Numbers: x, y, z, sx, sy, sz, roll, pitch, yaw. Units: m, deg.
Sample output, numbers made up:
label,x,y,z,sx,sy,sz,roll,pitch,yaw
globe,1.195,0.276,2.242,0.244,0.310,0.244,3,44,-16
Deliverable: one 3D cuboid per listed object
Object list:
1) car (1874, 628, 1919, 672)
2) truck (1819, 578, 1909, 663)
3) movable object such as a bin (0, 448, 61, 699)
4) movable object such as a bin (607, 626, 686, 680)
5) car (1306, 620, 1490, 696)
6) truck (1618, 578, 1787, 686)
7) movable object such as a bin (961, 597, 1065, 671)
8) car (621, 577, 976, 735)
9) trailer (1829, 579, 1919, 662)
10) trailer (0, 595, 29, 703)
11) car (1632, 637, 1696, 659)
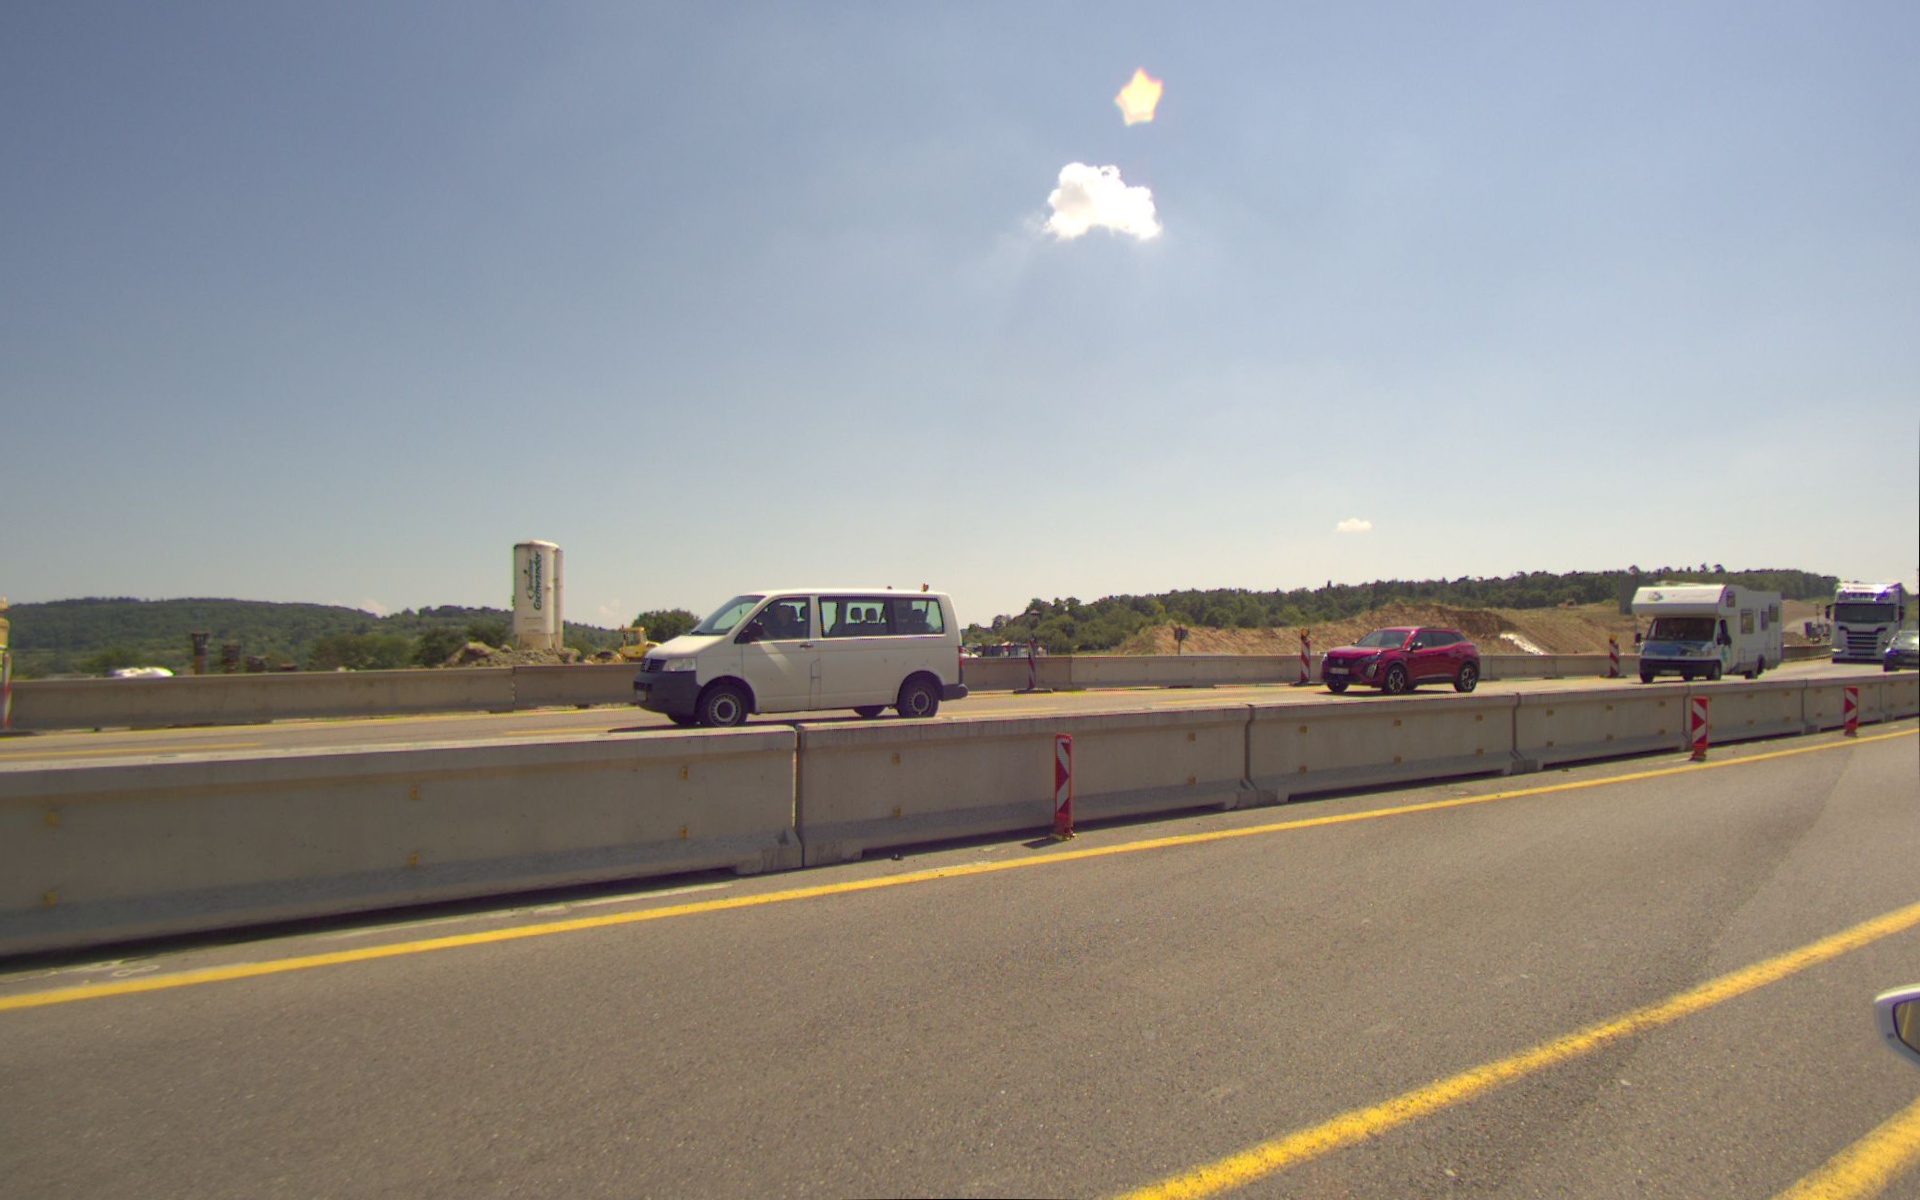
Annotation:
label,x,y,z,sx,sy,sz,roll,pitch,yaw
car,36.684,1.876,38.513,4.356,1.626,1.648,1,-3,-37
truck,46.366,1.099,51.477,5.457,4.115,2.679,1,-3,-41
movable object such as a bin,-21.419,-0.457,16.605,9.203,4.386,2.915,1,-2,-26
movable object such as a bin,-19.155,3.228,61.445,4.424,3.182,1.988,1,-2,-25
car,10.310,1.313,23.581,4.283,1.649,1.713,1,-2,-29
truck,23.894,1.018,32.190,7.181,3.112,2.424,1,-2,-37
movable object such as a bin,2.382,1.498,44.963,4.219,3.182,1.988,1,-2,-25
car,-2.281,0.770,14.725,4.838,1.979,1.856,1,-2,-32
trailer,51.689,1.221,56.279,13.872,4.168,2.736,1,-3,-42
trailer,-29.601,1.433,29.343,5.499,3.036,2.870,-2,-3,40
car,47.290,3.224,67.523,3.137,1.474,1.548,-1,-2,16
